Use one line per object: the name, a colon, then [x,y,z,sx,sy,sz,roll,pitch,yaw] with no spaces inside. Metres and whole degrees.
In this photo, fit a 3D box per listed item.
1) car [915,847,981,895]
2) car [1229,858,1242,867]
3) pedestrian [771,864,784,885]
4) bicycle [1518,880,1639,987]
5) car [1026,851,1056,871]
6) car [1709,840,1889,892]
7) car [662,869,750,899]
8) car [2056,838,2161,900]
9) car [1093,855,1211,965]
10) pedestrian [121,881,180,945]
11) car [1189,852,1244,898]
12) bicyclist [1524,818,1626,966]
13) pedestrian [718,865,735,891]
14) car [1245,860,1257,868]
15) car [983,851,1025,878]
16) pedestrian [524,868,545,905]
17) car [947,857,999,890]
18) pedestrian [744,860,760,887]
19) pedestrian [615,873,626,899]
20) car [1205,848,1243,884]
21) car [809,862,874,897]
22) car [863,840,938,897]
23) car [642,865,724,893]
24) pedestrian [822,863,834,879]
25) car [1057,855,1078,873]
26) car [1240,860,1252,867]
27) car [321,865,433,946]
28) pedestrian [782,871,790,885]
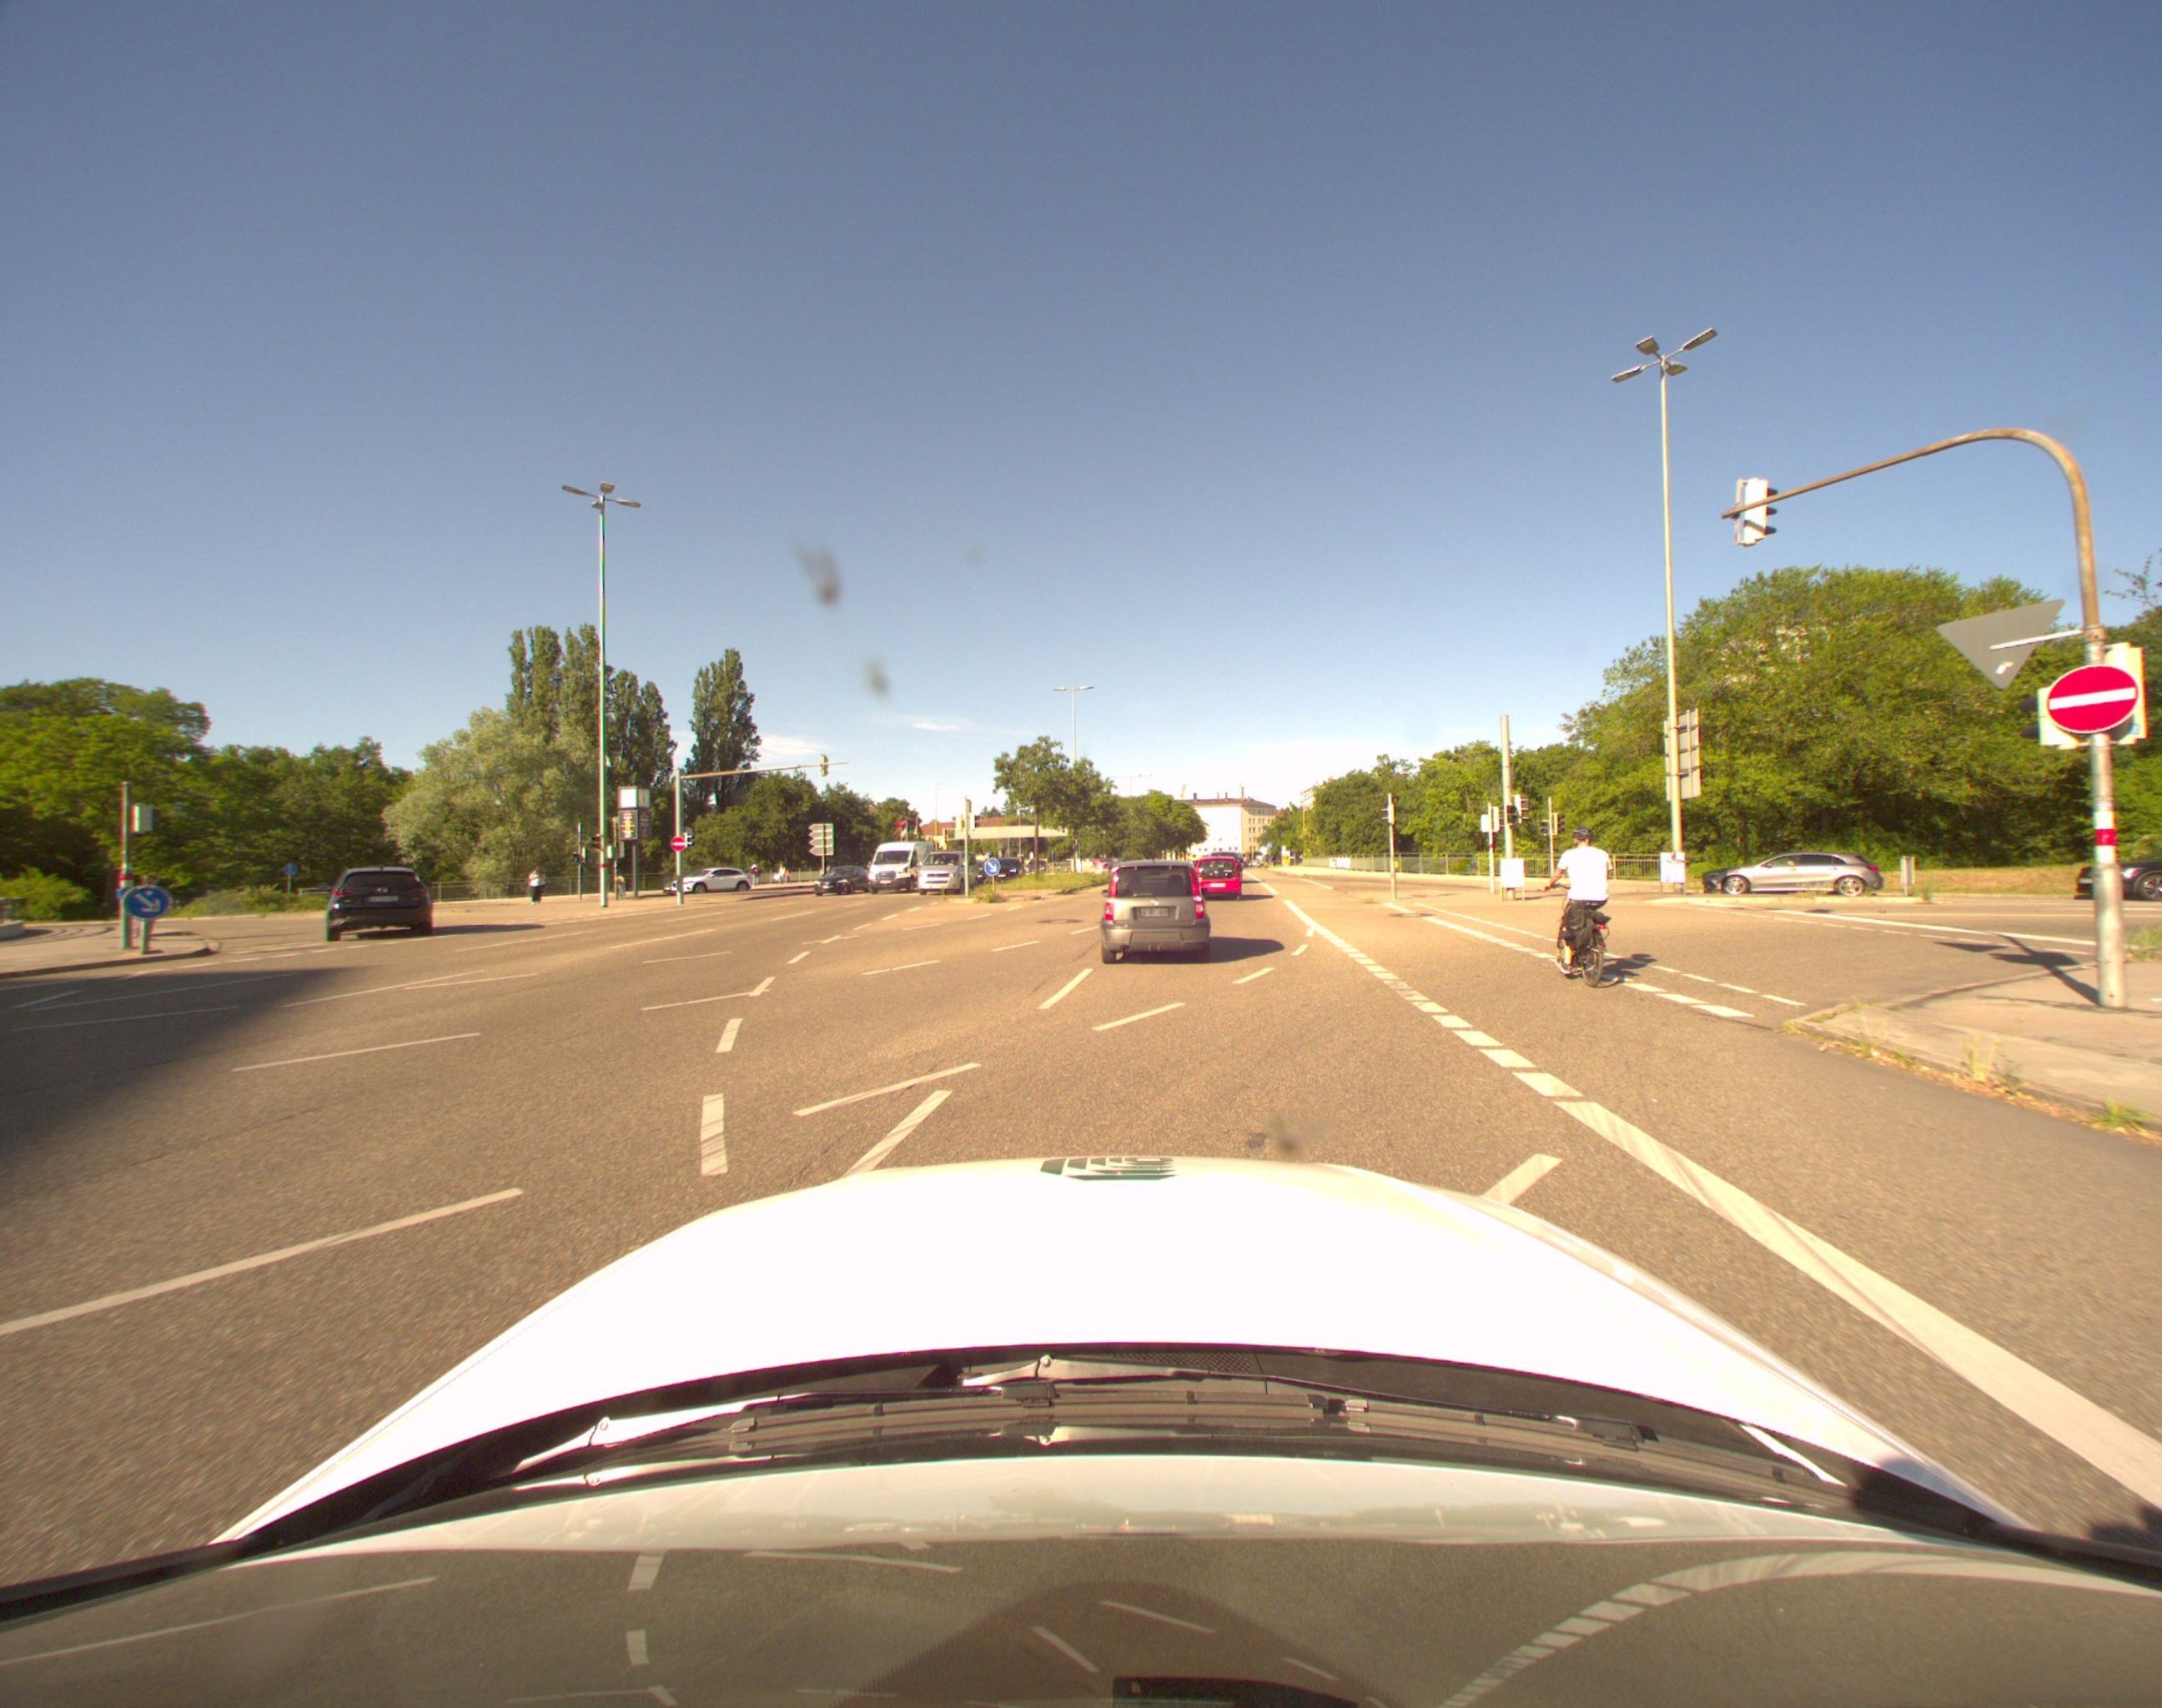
car: [-5.966,0.735,37.129,1.928,2.008,4.936,-1,0,3]
car: [33.655,1.867,177.023,1.849,1.681,3.929,-1,-3,24]
pedestrian: [-24.135,1.637,64.796,0.716,1.641,0.674,0,-3,8]
bicycle: [5.876,0.886,9.738,0.686,1.102,1.832,0,-1,13]
car: [-3.361,0.563,68.934,1.927,1.622,4.511,-1,0,5]
car: [22.861,0.395,26.195,4.190,1.552,1.873,-1,0,38]
car: [-21.558,1.707,47.005,1.762,1.535,4.356,0,0,32]
car: [29.808,0.371,21.647,4.620,1.616,1.872,-1,0,26]
car: [1.152,0.786,13.228,1.610,1.515,3.825,-1,0,5]
pedestrian: [-22.239,1.391,19.479,0.682,1.463,0.697,-1,-1,-23]
car: [4.680,0.698,28.556,1.610,1.463,3.756,-1,0,5]
bicyclist: [5.882,0.433,9.763,0.719,1.659,1.117,0,-1,13]
pedestrian: [-26.126,1.747,60.022,0.832,1.917,0.789,0,-3,8]
car: [40.504,2.381,193.862,1.848,1.681,3.930,-1,-3,25]
car: [-5.026,0.660,53.518,1.927,1.622,4.511,-1,0,5]
pedestrian: [-23.262,1.373,34.681,0.714,1.547,0.721,-1,-1,-33]
car: [-5.742,1.016,43.856,1.928,1.622,4.509,-1,0,3]
pedestrian: [-24.649,1.482,61.082,0.801,1.997,0.789,0,-3,8]
pedestrian: [-27.841,1.954,49.234,0.560,1.547,0.570,-1,-2,-33]
car: [7.867,0.673,44.866,1.933,1.840,4.163,0,-1,10]
car: [-11.816,1.233,40.455,1.930,1.507,4.000,-3,0,1]
car: [-8.733,0.669,40.071,1.928,2.576,6.094,-1,0,3]
car: [-24.217,1.568,49.678,1.876,1.625,4.025,-2,-3,35]
pedestrian: [-23.476,1.607,75.494,0.664,1.503,0.783,-1,-3,22]
car: [-1.537,1.170,94.807,1.984,2.014,4.340,-2,-1,5]
car: [37.707,2.187,186.190,1.849,1.681,3.929,-1,-3,23]
car: [-17.138,1.170,19.800,1.891,1.709,4.146,-1,-1,-42]
pedestrian: [-23.456,1.923,64.738,0.421,1.136,0.398,0,-3,8]
